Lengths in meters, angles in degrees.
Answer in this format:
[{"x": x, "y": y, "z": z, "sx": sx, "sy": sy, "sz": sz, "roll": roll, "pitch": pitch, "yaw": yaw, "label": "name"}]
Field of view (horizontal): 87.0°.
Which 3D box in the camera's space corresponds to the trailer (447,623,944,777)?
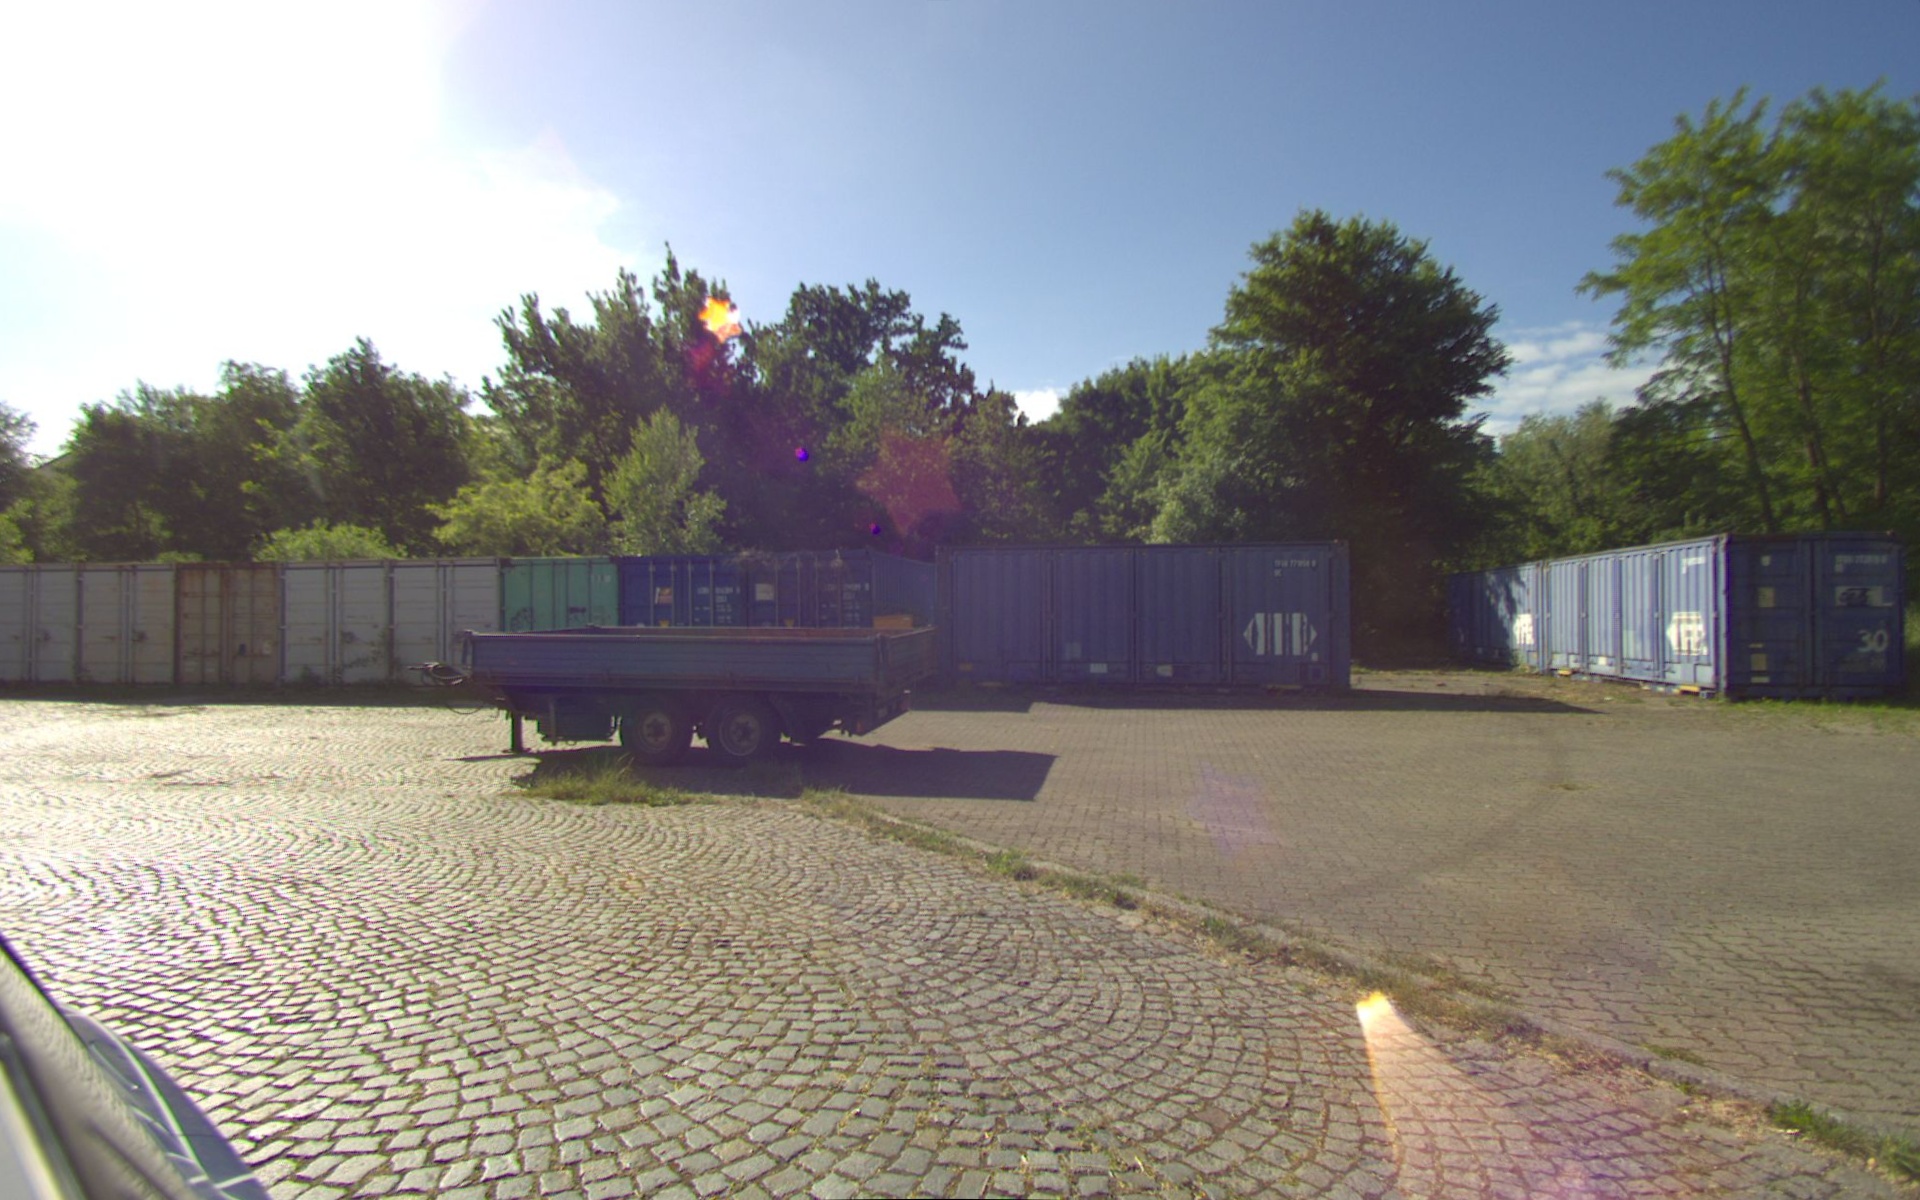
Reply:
[{"x": -2.785, "y": 0.997, "z": 11.457, "sx": 4.810, "sy": 1.425, "sz": 2.640, "roll": 0, "pitch": -1, "yaw": 11, "label": "trailer"}]
